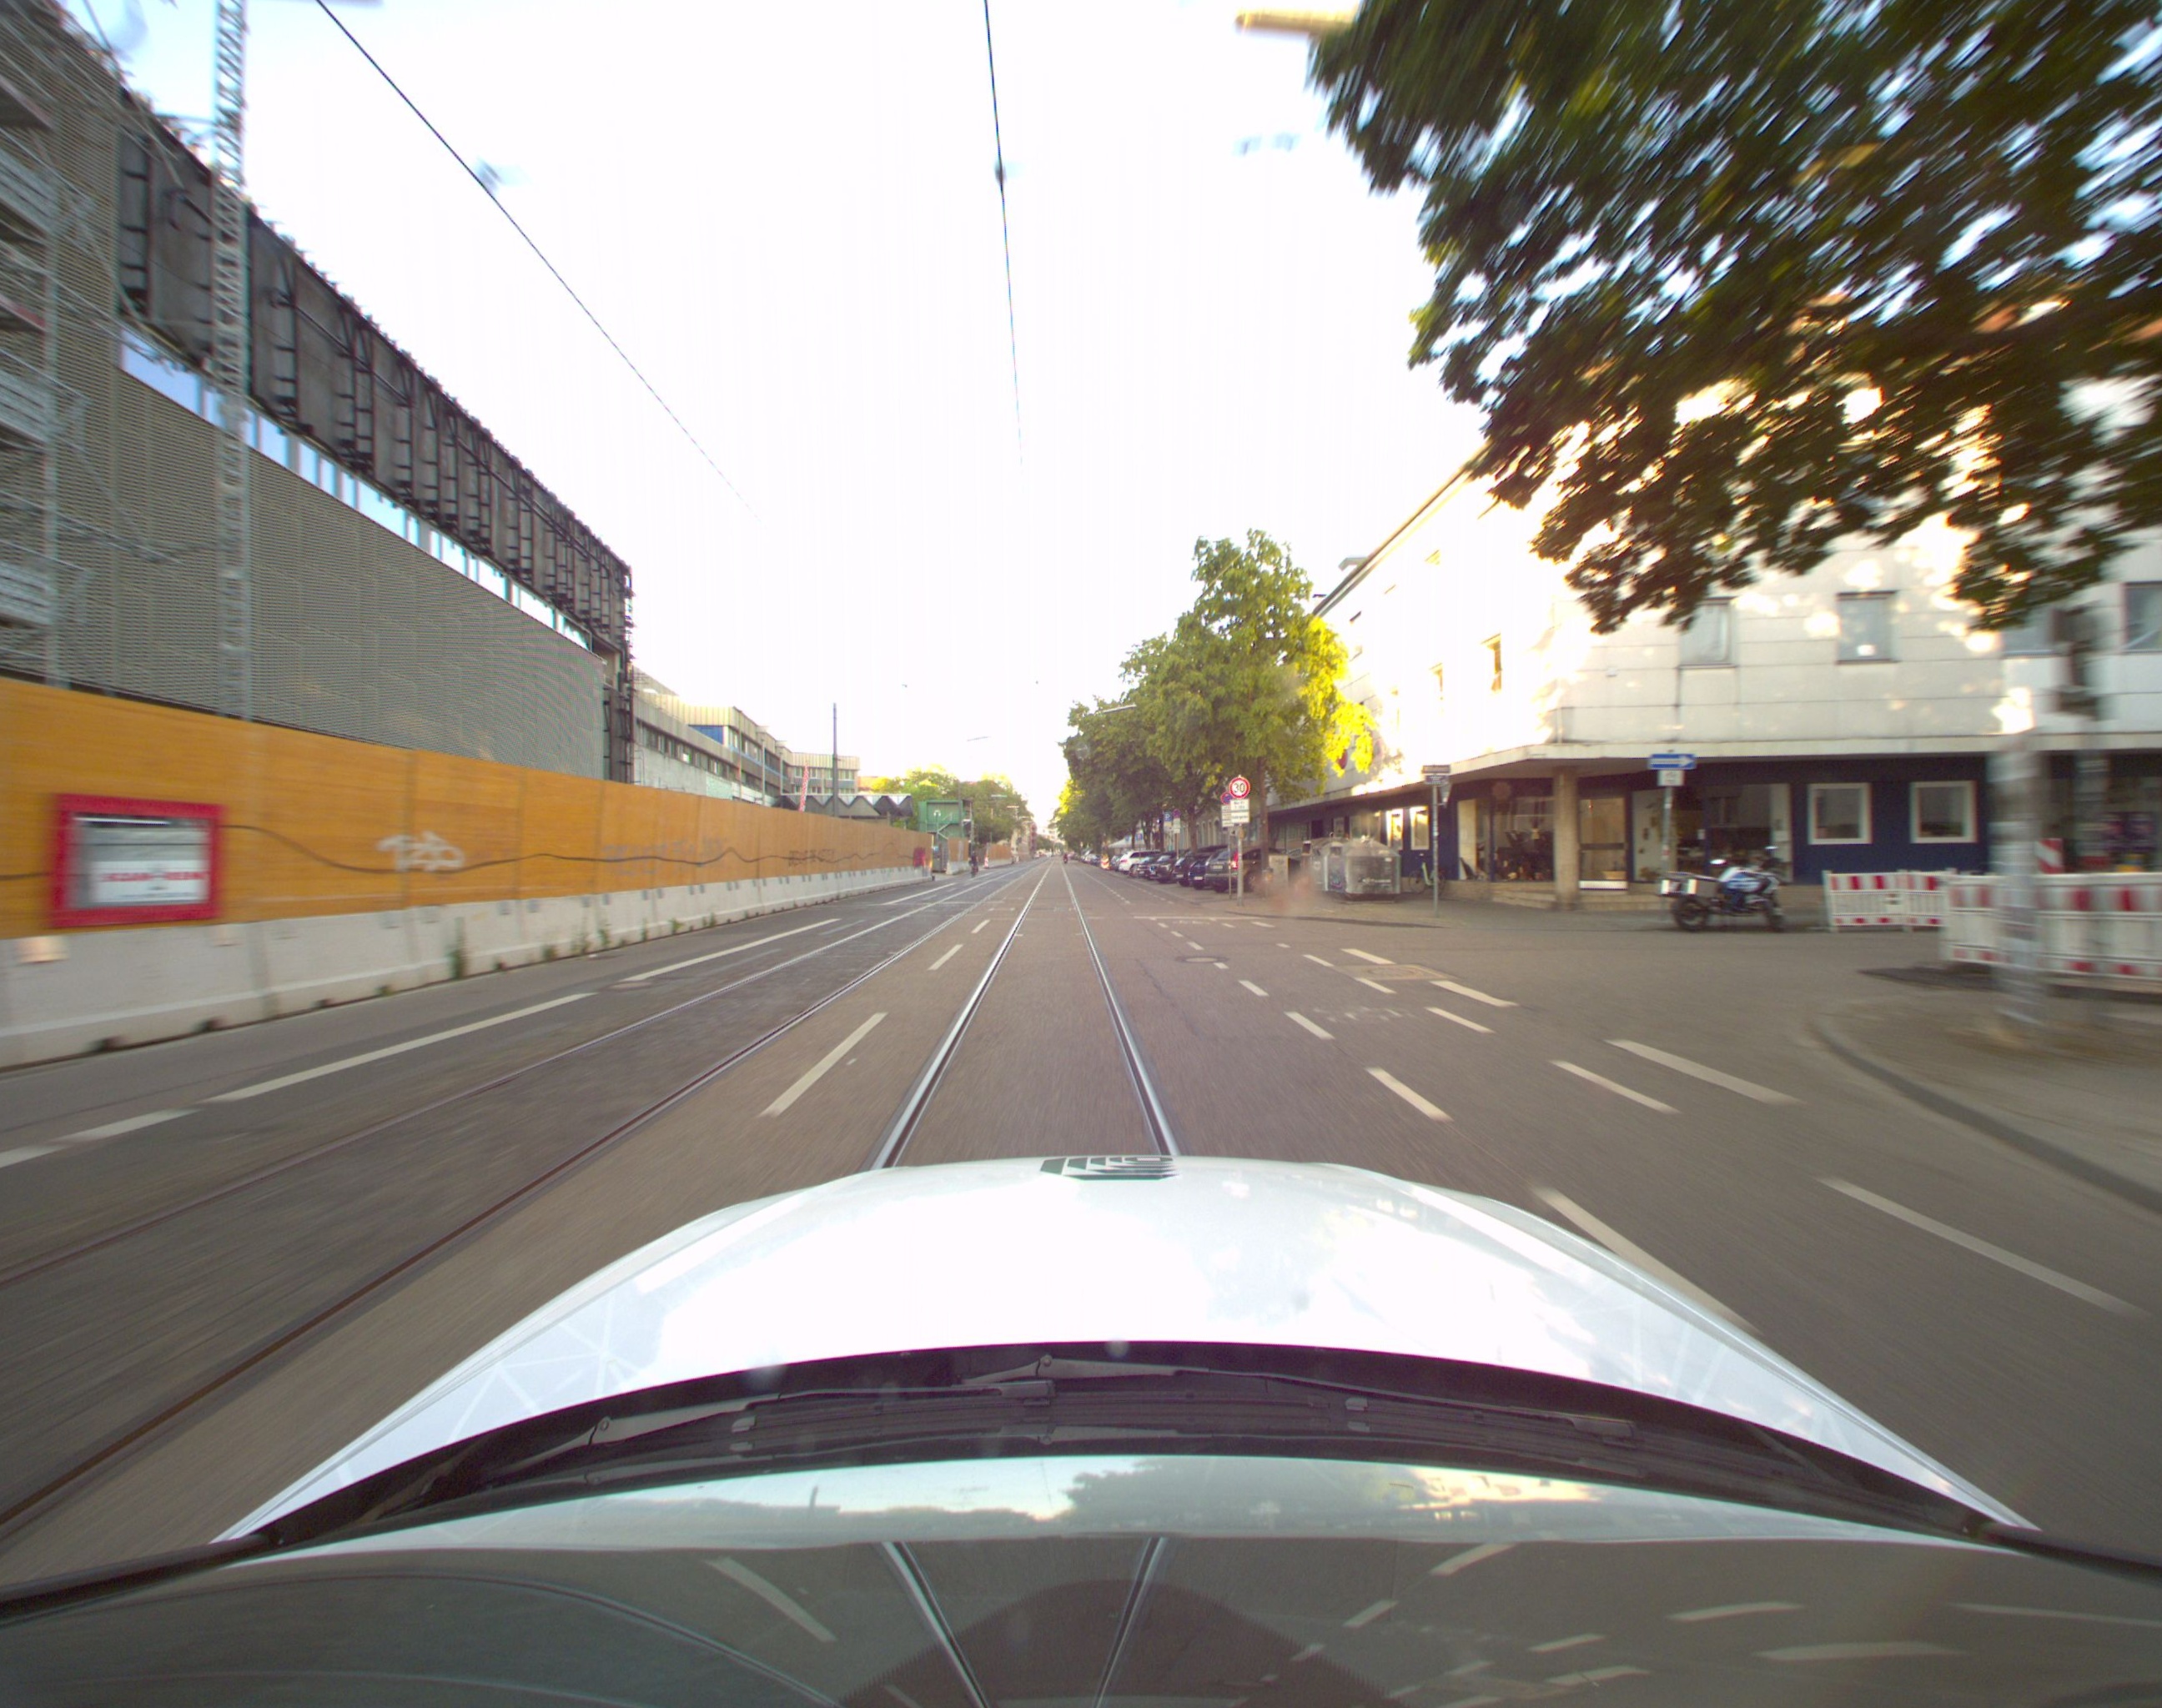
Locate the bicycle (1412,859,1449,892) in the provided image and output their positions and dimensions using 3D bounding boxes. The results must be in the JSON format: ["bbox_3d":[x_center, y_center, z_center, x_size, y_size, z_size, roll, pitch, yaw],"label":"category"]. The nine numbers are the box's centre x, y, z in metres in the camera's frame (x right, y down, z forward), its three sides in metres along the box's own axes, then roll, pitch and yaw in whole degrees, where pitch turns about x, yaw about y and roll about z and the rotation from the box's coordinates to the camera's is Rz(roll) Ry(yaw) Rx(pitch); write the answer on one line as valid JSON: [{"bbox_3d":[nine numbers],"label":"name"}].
[{"bbox_3d":[10.038,0.612,23.416,0.340,0.882,1.324,-4,0,-4],"label":"bicycle"}]

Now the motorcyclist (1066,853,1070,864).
[{"bbox_3d":[-2.034,0.670,127.255,0.643,1.697,1.025,-1,-1,-3],"label":"motorcyclist"}]

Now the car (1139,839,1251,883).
[{"bbox_3d":[5.684,0.321,40.681,4.981,1.826,2.193,-4,0,-20],"label":"car"}]

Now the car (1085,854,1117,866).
[{"bbox_3d":[2.964,0.870,119.529,4.255,1.549,2.011,-2,-1,-13],"label":"car"}]

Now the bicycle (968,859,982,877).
[{"bbox_3d":[-7.552,0.982,57.975,0.766,1.228,1.935,-1,0,-2],"label":"bicycle"}]

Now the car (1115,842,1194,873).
[{"bbox_3d":[4.691,0.229,52.198,4.646,1.688,2.002,-3,0,-8],"label":"car"}]

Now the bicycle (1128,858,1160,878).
[{"bbox_3d":[3.863,0.854,50.174,1.839,1.102,0.495,-4,1,-16],"label":"bicycle"}]

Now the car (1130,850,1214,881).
[{"bbox_3d":[5.119,0.643,45.855,4.232,1.426,1.960,-4,0,-24],"label":"car"}]

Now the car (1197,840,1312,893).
[{"bbox_3d":[6.567,0.440,30.583,4.187,1.664,1.822,-4,0,-36],"label":"car"}]

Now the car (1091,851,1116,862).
[{"bbox_3d":[3.635,0.484,133.000,3.939,1.620,1.919,-3,-1,-2],"label":"car"}]

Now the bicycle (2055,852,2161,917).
[{"bbox_3d":[18.121,0.505,13.916,0.587,1.056,2.102,-1,-1,7],"label":"bicycle"}]

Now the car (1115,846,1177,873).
[{"bbox_3d":[4.874,0.399,60.932,4.174,1.806,1.988,-3,0,-30],"label":"car"}]

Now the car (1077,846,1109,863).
[{"bbox_3d":[2.018,0.108,141.343,5.110,2.642,2.009,-3,-1,-19],"label":"car"}]

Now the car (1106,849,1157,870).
[{"bbox_3d":[4.272,0.431,68.858,3.984,1.553,1.691,-3,0,-27],"label":"car"}]

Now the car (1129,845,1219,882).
[{"bbox_3d":[4.920,0.483,42.975,4.227,1.649,1.962,-4,0,-20],"label":"car"}]

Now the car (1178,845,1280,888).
[{"bbox_3d":[6.119,0.505,33.565,3.909,1.502,1.795,-4,0,-33],"label":"car"}]

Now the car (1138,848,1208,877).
[{"bbox_3d":[5.487,0.505,48.365,3.767,1.426,1.712,-4,0,-27],"label":"car"}]

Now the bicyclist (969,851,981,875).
[{"bbox_3d":[-7.557,0.634,58.025,0.766,1.665,1.017,-1,0,-2],"label":"bicyclist"}]

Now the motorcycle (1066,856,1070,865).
[{"bbox_3d":[-2.023,1.034,127.142,0.643,1.369,1.810,-1,-1,-2],"label":"motorcycle"}]

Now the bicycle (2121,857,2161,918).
[{"bbox_3d":[19.238,0.583,13.878,0.524,1.056,1.868,-1,-1,-5],"label":"bicycle"}]

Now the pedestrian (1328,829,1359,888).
[{"bbox_3d":[9.042,0.154,28.111,0.690,1.985,0.785,-4,0,-2],"label":"pedestrian"}]

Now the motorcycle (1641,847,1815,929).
[{"bbox_3d":[11.657,0.605,14.773,2.081,1.405,1.292,-1,-1,5],"label":"motorcycle"}]

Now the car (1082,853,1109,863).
[{"bbox_3d":[2.453,0.630,136.712,3.971,1.486,1.904,-2,-1,-26],"label":"car"}]

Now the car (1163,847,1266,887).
[{"bbox_3d":[5.989,0.558,36.499,4.181,1.465,1.952,-4,0,-30],"label":"car"}]
